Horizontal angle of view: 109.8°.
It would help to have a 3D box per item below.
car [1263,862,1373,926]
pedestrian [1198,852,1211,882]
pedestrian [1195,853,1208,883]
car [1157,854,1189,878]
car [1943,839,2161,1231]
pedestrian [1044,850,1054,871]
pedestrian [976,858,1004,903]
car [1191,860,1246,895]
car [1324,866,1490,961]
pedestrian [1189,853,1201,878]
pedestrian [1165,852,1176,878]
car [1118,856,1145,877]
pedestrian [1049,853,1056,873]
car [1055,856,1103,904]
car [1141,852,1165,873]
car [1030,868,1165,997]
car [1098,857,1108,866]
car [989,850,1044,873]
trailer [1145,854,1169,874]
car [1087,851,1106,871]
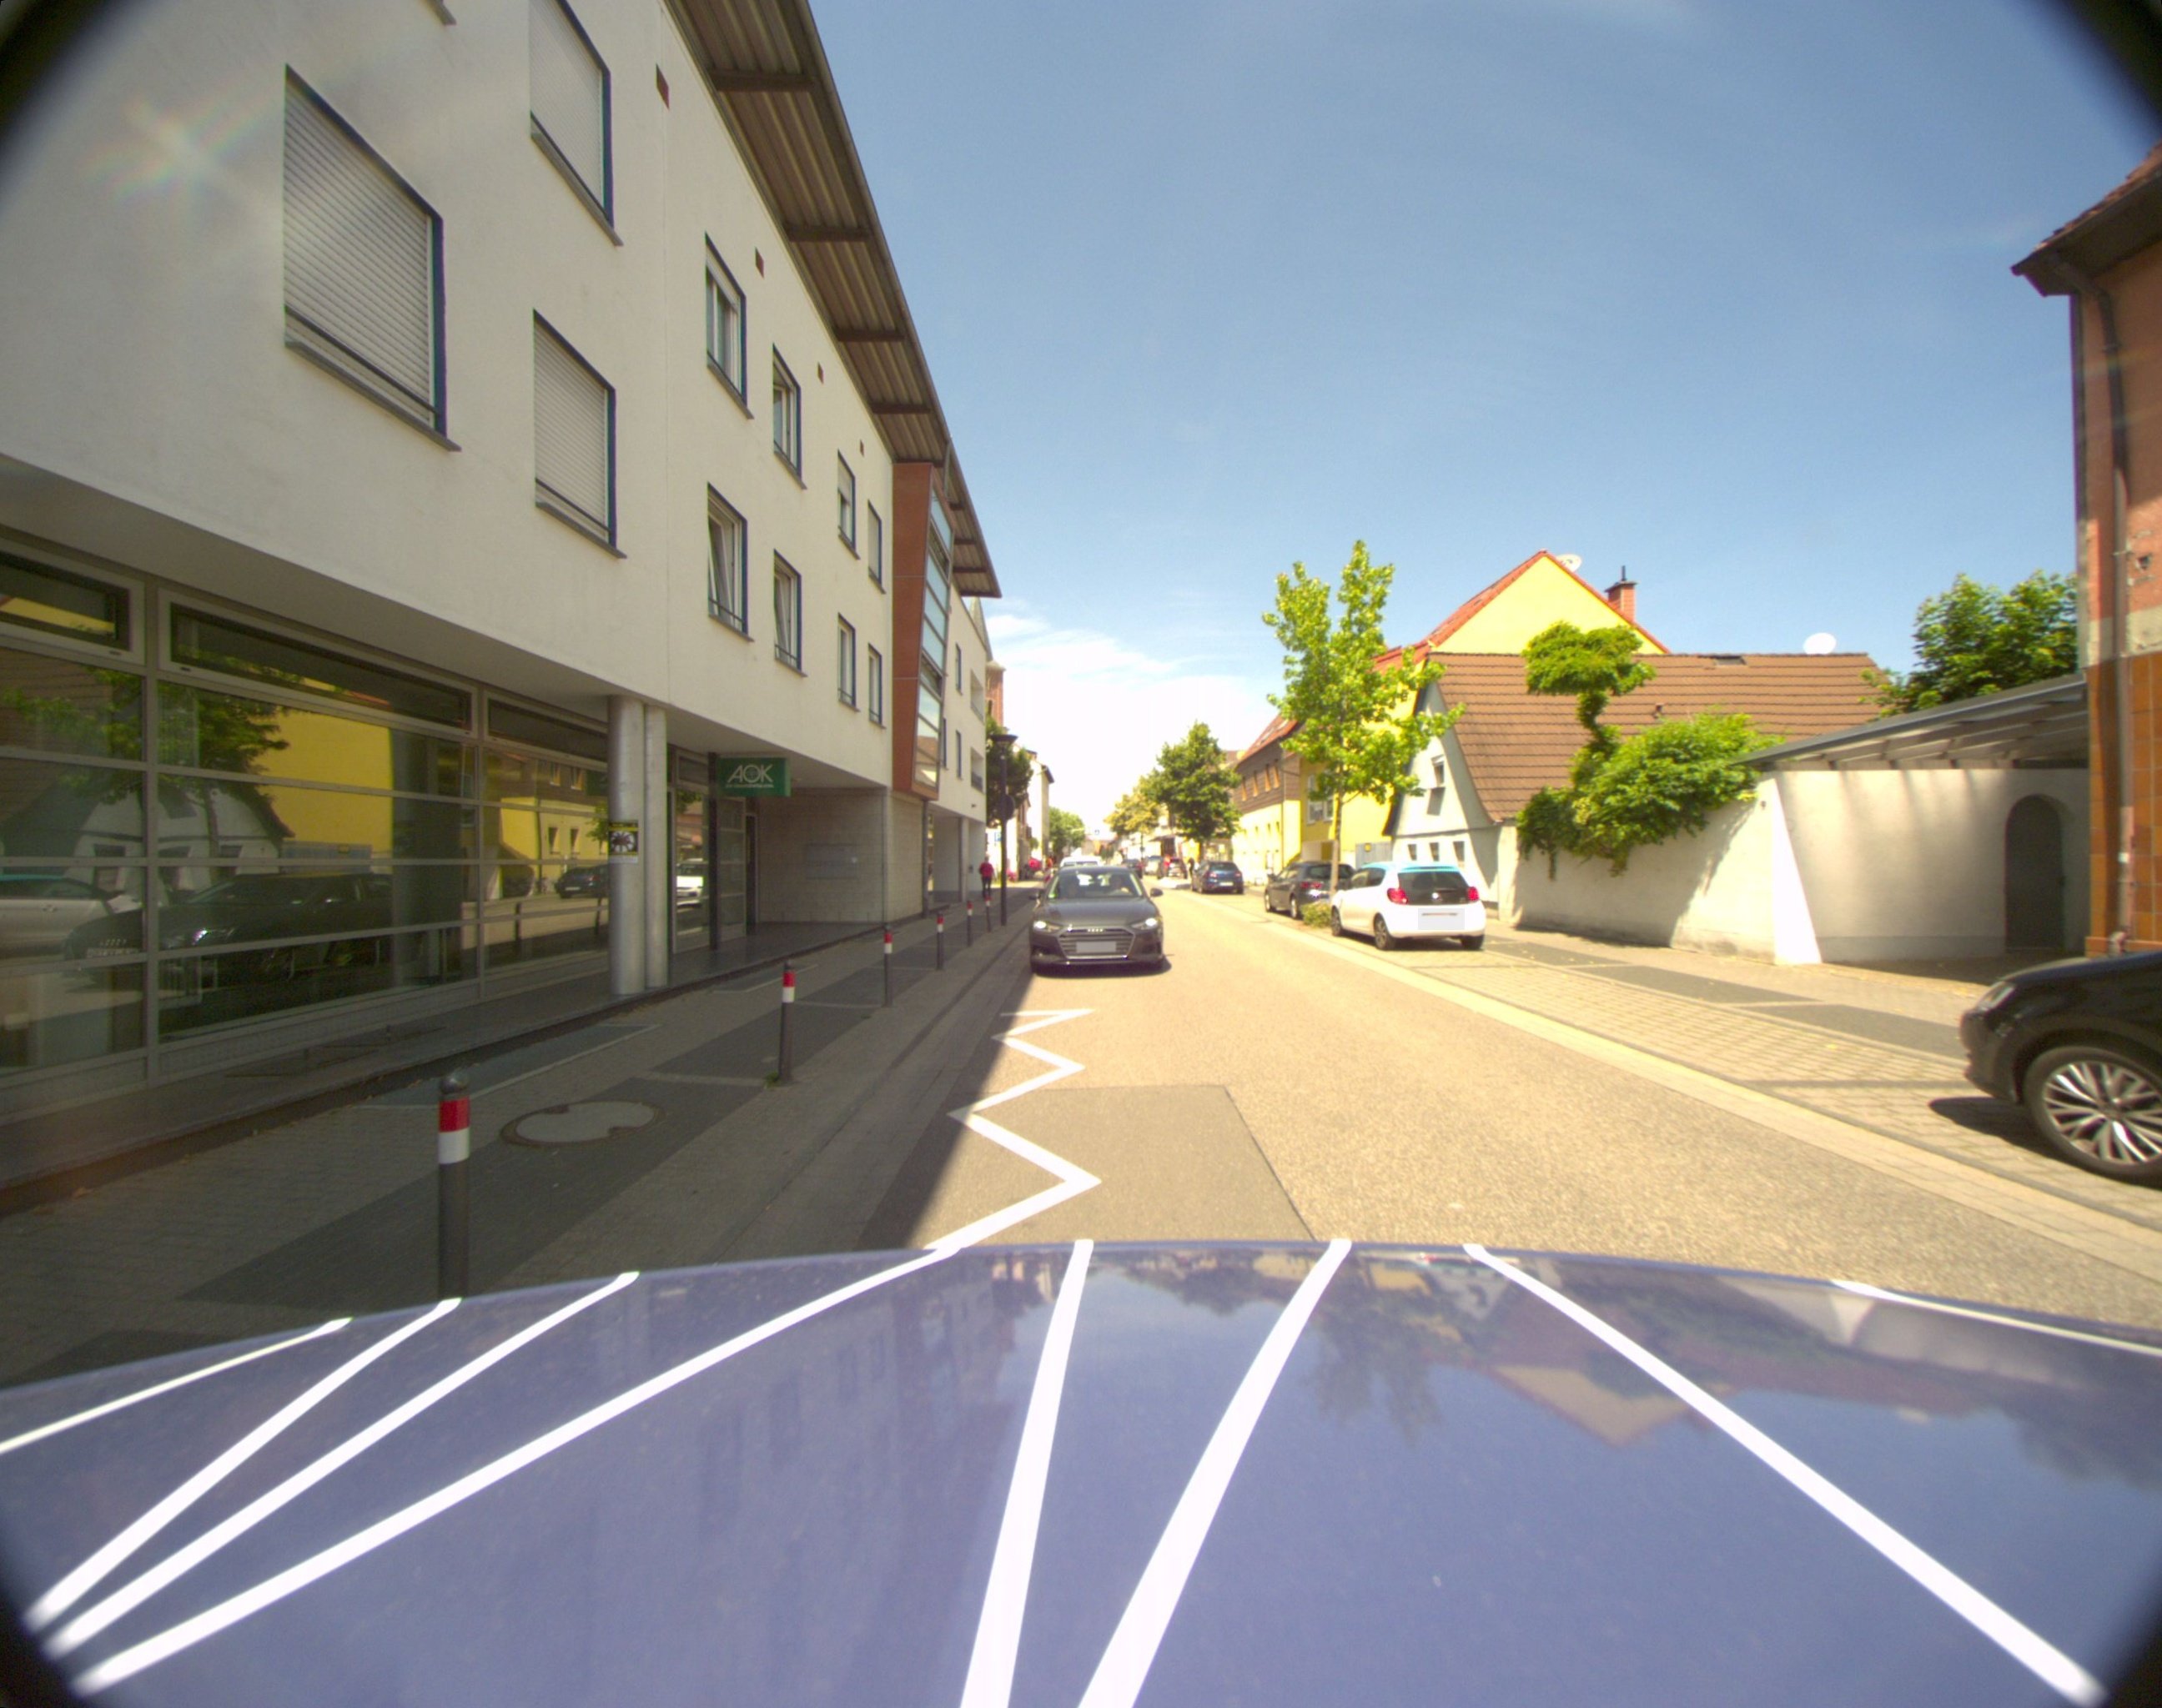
[{"bbox_3d":[6.042,0.953,19.844,1.649,1.422,4.099,1,0,1],"label":"car"},{"bbox_3d":[6.803,0.713,41.745,0.631,1.592,0.528,0,1,1],"label":"pedestrian"},{"bbox_3d":[6.469,0.747,40.796,0.631,1.592,0.528,0,1,1],"label":"pedestrian"},{"bbox_3d":[6.273,0.818,52.083,1.753,1.566,4.158,-1,0,1],"label":"car"},{"bbox_3d":[5.613,0.785,1.911,1.780,1.716,4.520,0,0,0],"label":"car"},{"bbox_3d":[-2.956,0.585,69.529,0.580,1.875,0.696,1,1,30],"label":"pedestrian"},{"bbox_3d":[-3.274,0.942,27.319,0.825,1.579,0.919,3,0,1],"label":"pedestrian"},{"bbox_3d":[5.865,0.973,32.796,1.660,1.399,4.158,0,0,1],"label":"car"},{"bbox_3d":[5.661,0.961,13.629,1.557,1.422,3.410,0,0,1],"label":"car"},{"bbox_3d":[7.287,0.736,48.541,0.663,1.592,0.771,0,0,1],"label":"pedestrian"},{"bbox_3d":[5.708,0.700,48.474,0.643,1.645,0.624,1,1,1],"label":"pedestrian"},{"bbox_3d":[3.696,0.875,55.919,1.693,1.464,4.000,1,0,0],"label":"car"},{"bbox_3d":[-2.657,0.847,70.824,0.581,1.875,0.695,1,1,3],"label":"pedestrian"},{"bbox_3d":[-0.053,0.873,27.543,1.581,1.620,4.065,0,0,0],"label":"car"},{"bbox_3d":[6.495,0.759,68.780,1.695,1.742,3.999,-3,0,-1],"label":"car"},{"bbox_3d":[0.213,0.975,11.082,1.581,1.424,4.065,-1,0,0],"label":"car"},{"bbox_3d":[4.656,1.485,160.573,1.695,1.761,3.999,-4,0,-1],"label":"car"},{"bbox_3d":[-5.176,0.592,61.373,4.203,1.849,2.000,1,0,0],"label":"car"},{"bbox_3d":[6.418,0.855,64.699,1.493,1.571,3.883,-3,0,-1],"label":"trailer"},{"bbox_3d":[1.265,0.572,63.721,1.581,1.620,4.065,0,0,0],"label":"car"}]
